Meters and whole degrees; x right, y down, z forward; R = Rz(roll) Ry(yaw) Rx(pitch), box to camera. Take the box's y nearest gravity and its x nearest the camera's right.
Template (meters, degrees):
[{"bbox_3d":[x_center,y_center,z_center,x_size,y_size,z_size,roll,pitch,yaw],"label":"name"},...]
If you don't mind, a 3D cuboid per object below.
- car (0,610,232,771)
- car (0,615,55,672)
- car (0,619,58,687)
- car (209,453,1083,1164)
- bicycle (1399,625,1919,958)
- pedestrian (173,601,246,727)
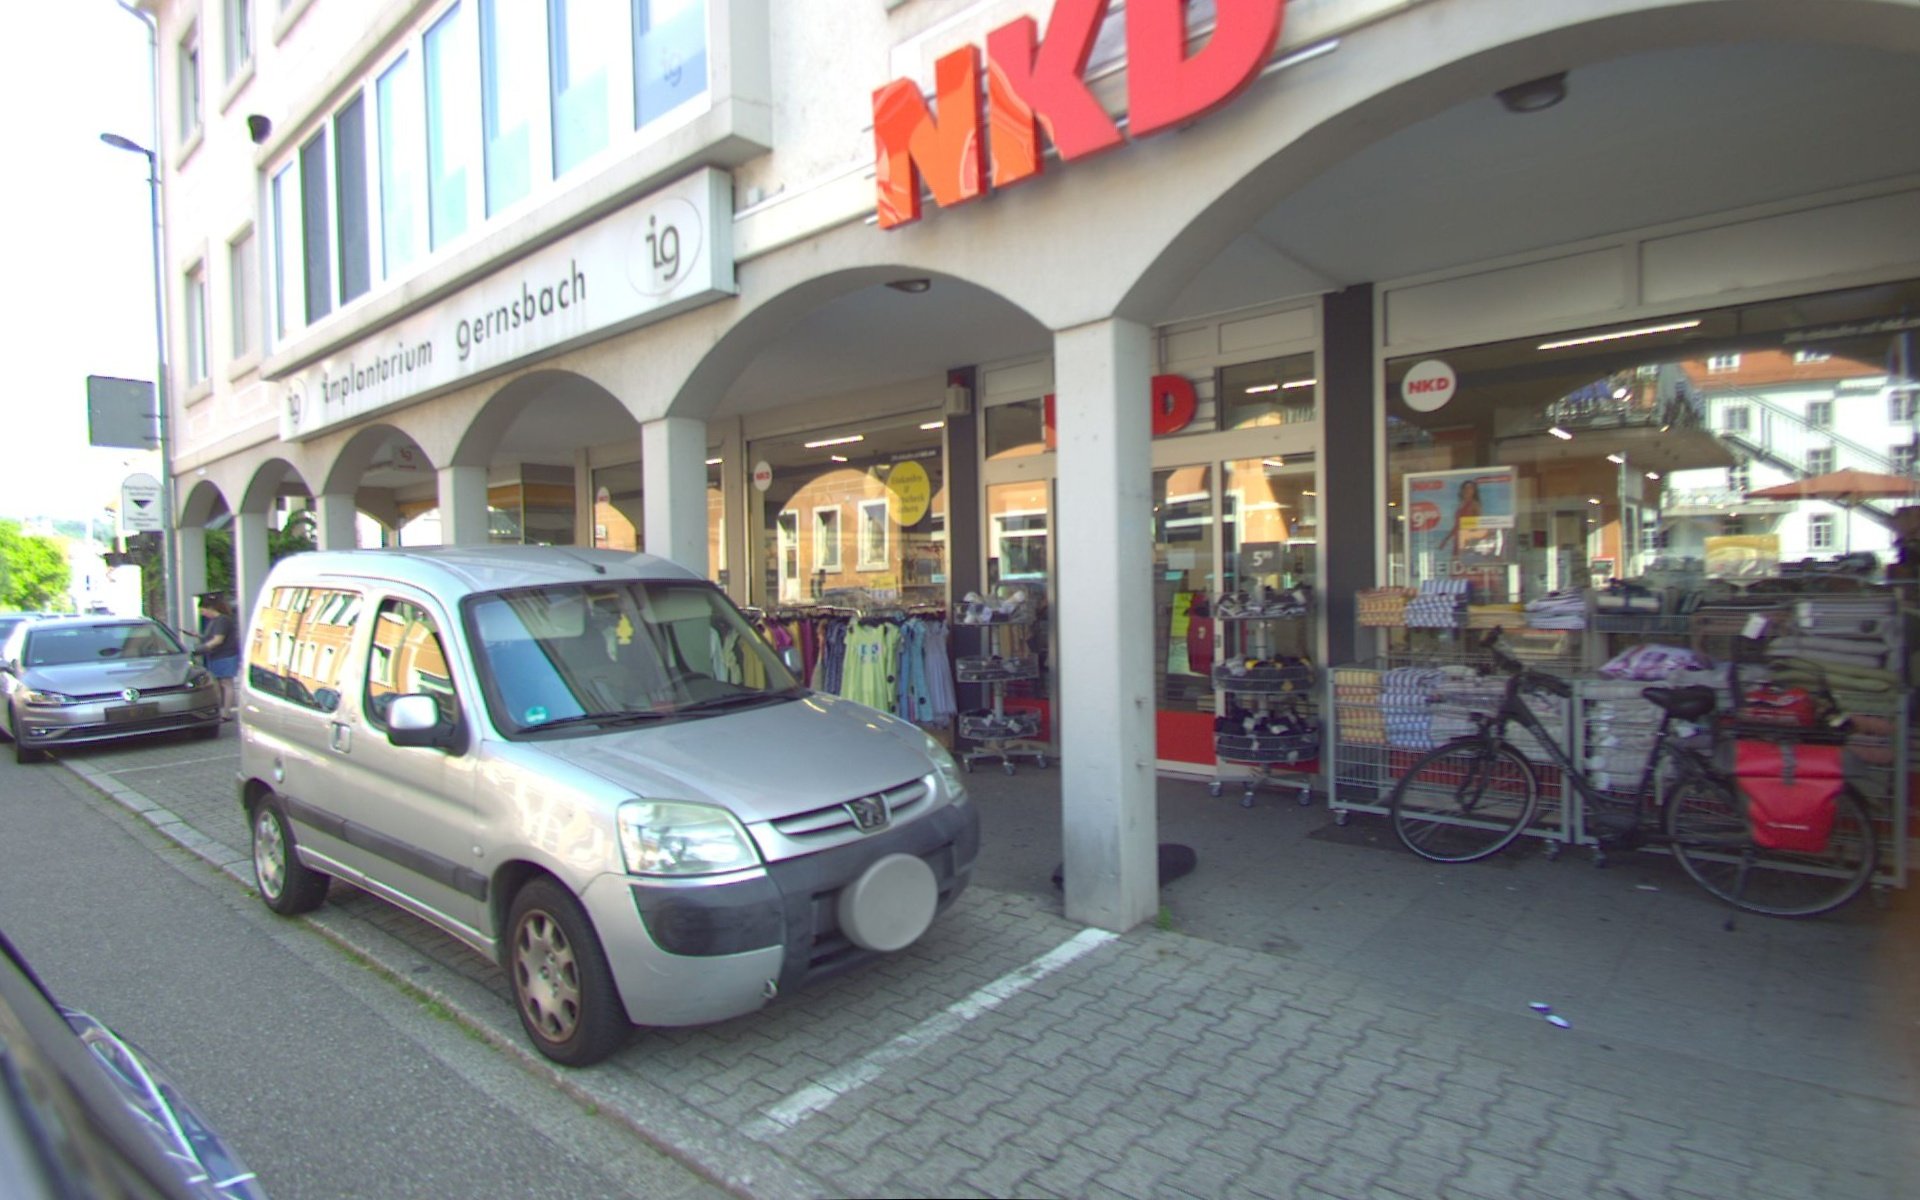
[{"bbox_3d":[-10.197,0.917,11.874,4.454,1.481,1.784,-2,1,43],"label":"car"},{"bbox_3d":[-29.803,1.338,31.911,1.657,1.681,3.978,-1,0,-39],"label":"car"},{"bbox_3d":[-23.875,1.289,25.277,3.972,1.572,1.745,-2,0,44],"label":"car"},{"bbox_3d":[-1.688,0.518,4.482,4.143,1.752,1.689,-2,2,41],"label":"car"},{"bbox_3d":[2.871,0.681,4.220,1.823,1.131,0.514,-1,0,41],"label":"bicycle"},{"bbox_3d":[-9.663,0.803,13.038,0.534,1.563,0.614,-2,0,41],"label":"pedestrian"}]
